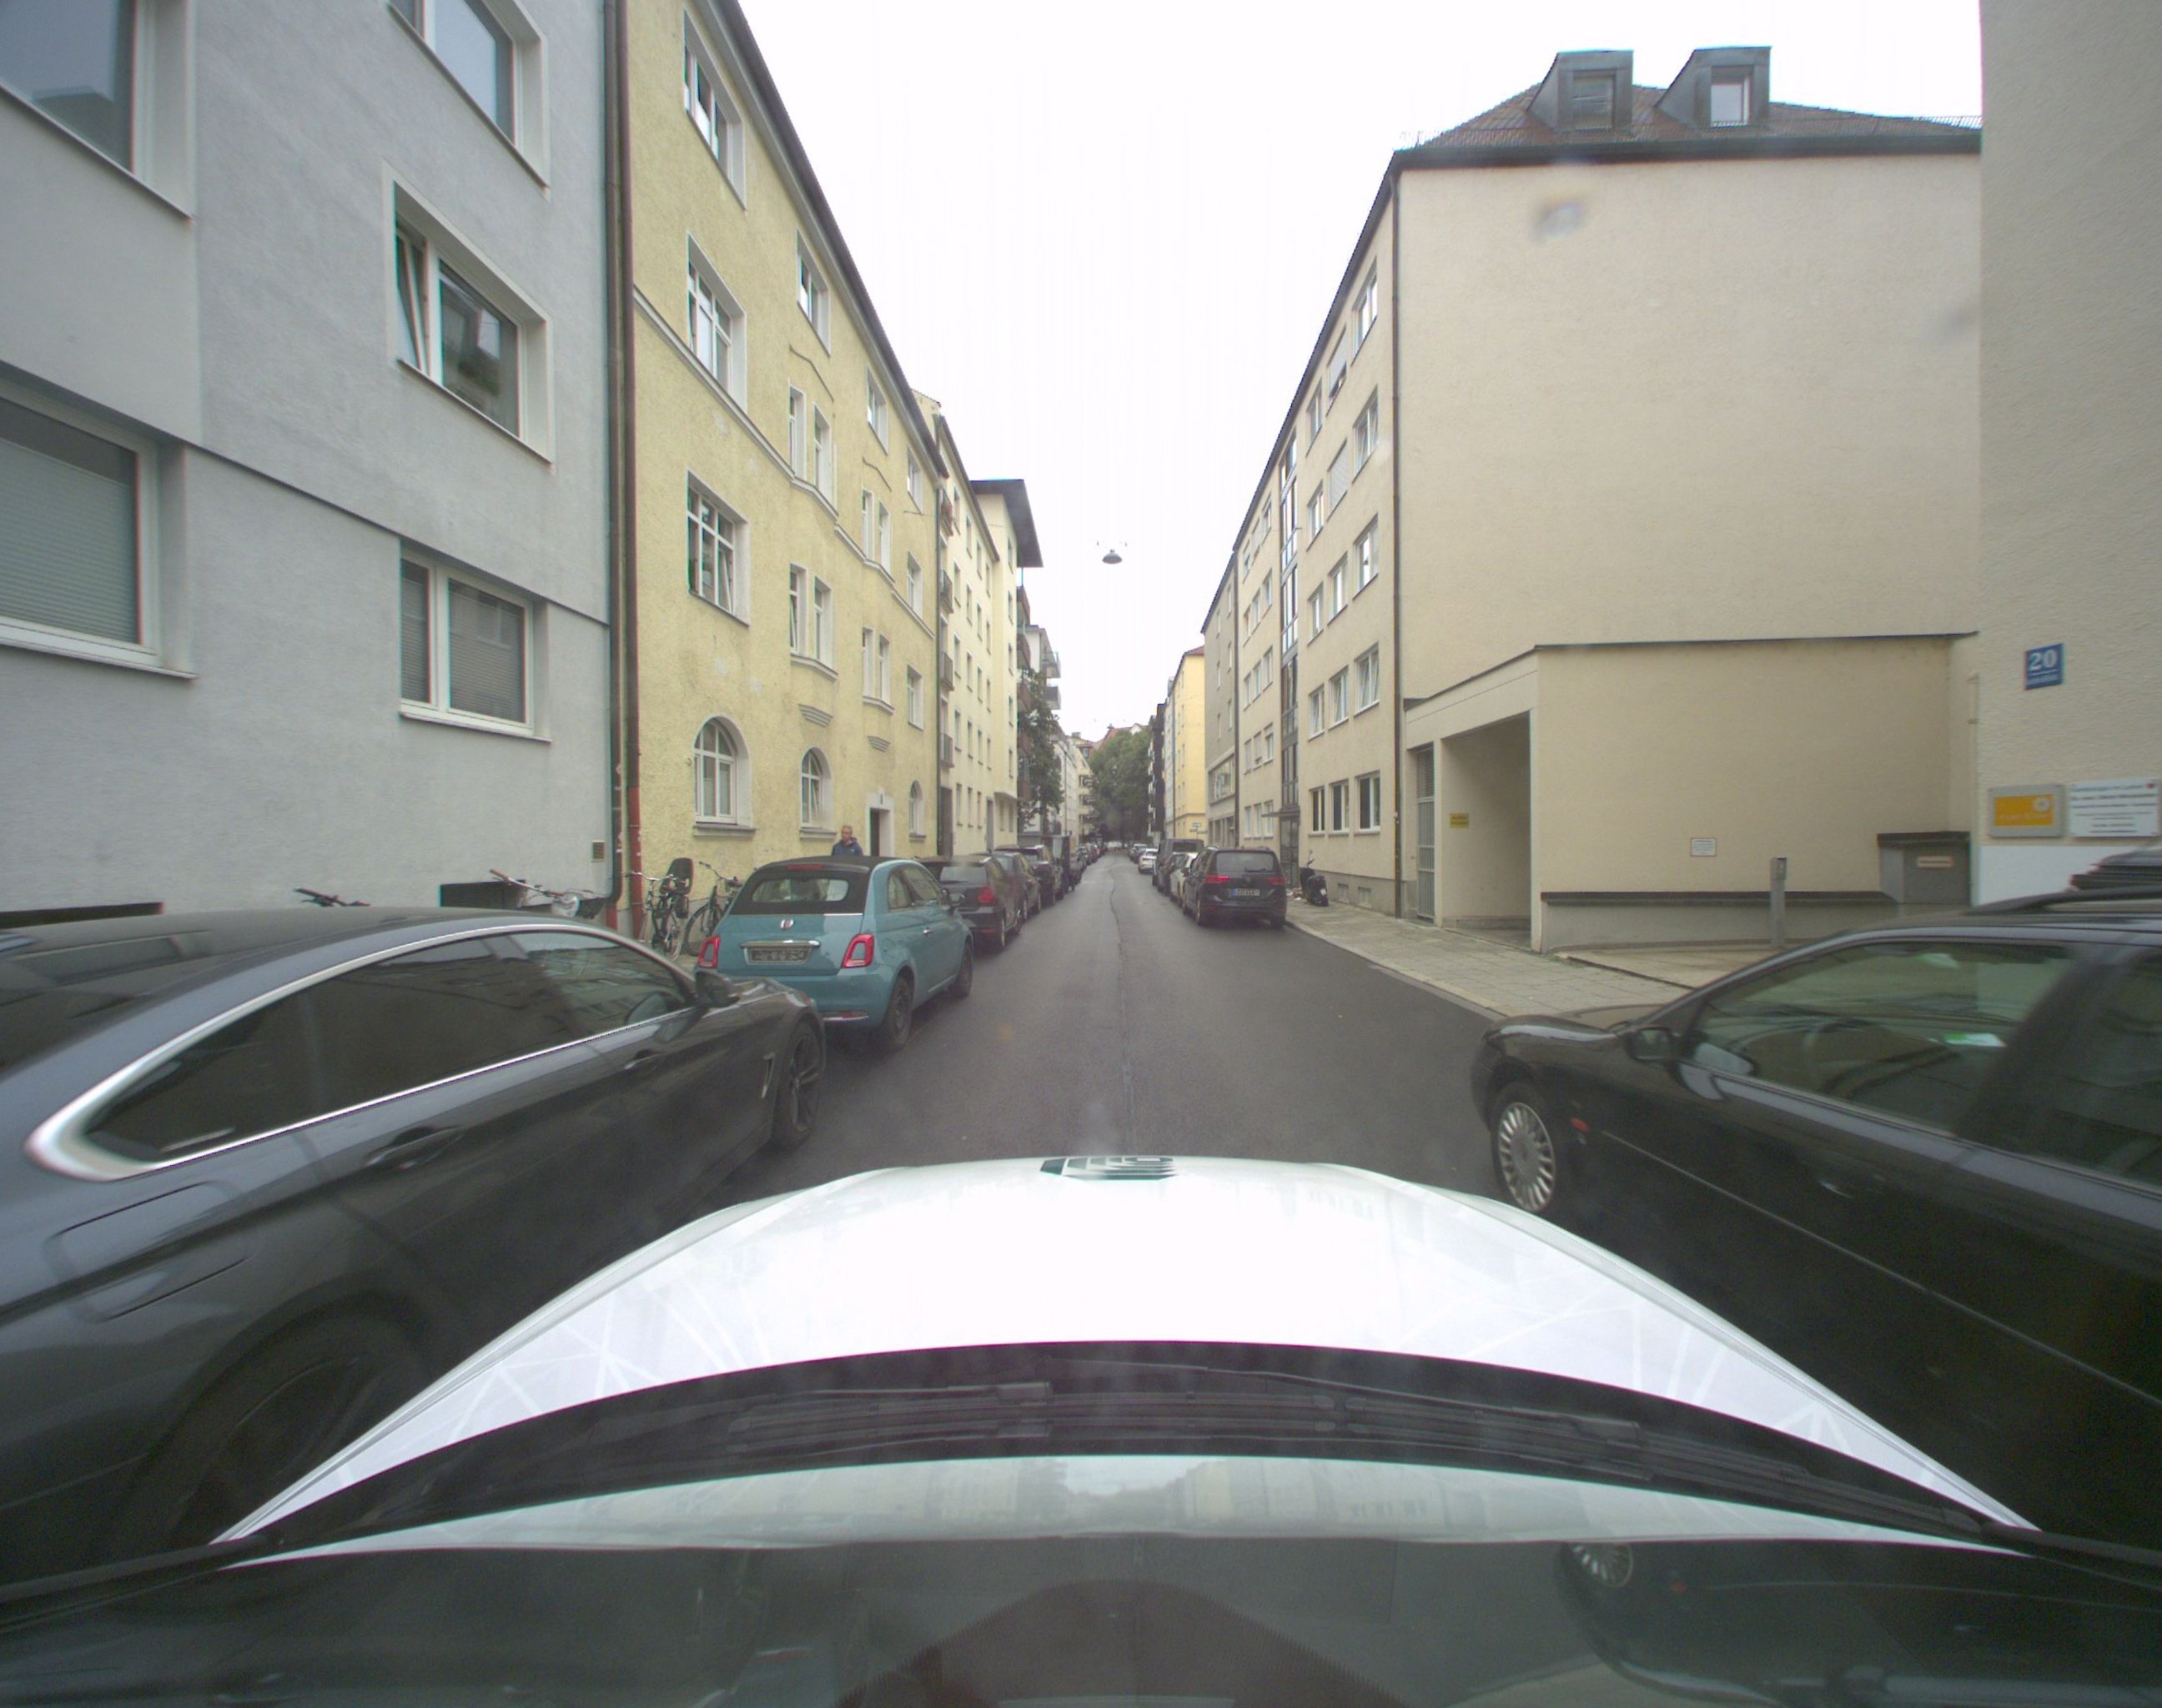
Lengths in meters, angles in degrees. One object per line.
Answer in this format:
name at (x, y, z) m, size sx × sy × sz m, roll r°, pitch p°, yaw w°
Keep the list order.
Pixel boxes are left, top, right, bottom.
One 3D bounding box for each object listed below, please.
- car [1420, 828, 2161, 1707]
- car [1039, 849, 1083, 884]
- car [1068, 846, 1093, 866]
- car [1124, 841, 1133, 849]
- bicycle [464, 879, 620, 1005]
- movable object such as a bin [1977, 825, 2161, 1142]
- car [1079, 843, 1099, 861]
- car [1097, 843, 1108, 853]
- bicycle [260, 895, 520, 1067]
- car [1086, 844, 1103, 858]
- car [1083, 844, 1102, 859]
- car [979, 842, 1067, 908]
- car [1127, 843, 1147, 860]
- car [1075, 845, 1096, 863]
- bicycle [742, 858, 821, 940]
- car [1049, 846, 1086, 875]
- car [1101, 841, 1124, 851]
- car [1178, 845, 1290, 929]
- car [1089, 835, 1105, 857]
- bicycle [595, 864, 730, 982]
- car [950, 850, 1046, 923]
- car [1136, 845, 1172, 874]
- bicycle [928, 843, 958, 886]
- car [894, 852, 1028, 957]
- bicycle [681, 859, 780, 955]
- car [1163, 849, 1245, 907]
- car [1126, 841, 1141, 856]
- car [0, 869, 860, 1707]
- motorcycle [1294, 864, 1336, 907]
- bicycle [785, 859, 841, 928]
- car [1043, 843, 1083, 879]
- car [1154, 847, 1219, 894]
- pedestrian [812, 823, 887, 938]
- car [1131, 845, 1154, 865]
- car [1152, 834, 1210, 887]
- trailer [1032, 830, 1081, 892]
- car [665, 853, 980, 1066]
car at (2.601, 0.704, 1.884) m, size 1.711 × 1.471 × 4.530 m, roll 1°, pitch 0°, yaw -1°
car at (-0.816, 0.499, 35.514) m, size 1.645 × 1.435 × 3.805 m, roll -1°, pitch 0°, yaw 3°
car at (0.009, 0.099, 63.074) m, size 1.686 × 1.442 × 3.946 m, roll -1°, pitch 1°, yaw 3°
car at (9.051, -1.760, 155.186) m, size 1.636 × 1.383 × 3.748 m, roll -3°, pitch 1°, yaw 2°
bicycle at (-5.087, 0.784, 7.801) m, size 0.394 × 1.031 × 1.571 m, roll 0°, pitch 0°, yaw 2°
movable object such as a bin at (5.382, 0.573, 3.619) m, size 1.028 × 1.423 × 1.587 m, roll -2°, pitch 0°, yaw 2°
car at (0.790, -0.192, 76.894) m, size 1.770 × 1.629 × 4.417 m, roll -1°, pitch 1°, yaw 2°
car at (3.451, -0.952, 128.530) m, size 1.636 × 1.383 × 3.484 m, roll -3°, pitch 1°, yaw 2°
bicycle at (-5.008, 0.859, 6.047) m, size 0.543 × 1.031 × 1.571 m, roll 0°, pitch 0°, yaw 2°
car at (1.627, -0.376, 95.132) m, size 1.770 × 1.452 × 4.048 m, roll -3°, pitch 1°, yaw 2°
car at (1.311, -0.330, 90.031) m, size 1.769 × 1.487 × 4.523 m, roll -3°, pitch 1°, yaw 3°
car at (-1.531, 0.518, 23.185) m, size 1.871 × 1.660 × 4.419 m, roll -1°, pitch 0°, yaw 4°
car at (5.348, -0.271, 78.055) m, size 1.676 × 1.567 × 4.417 m, roll 2°, pitch 1°, yaw 1°
car at (0.436, -0.028, 70.911) m, size 1.687 × 1.442 × 3.978 m, roll -1°, pitch 1°, yaw 1°
bicycle at (-4.827, 0.691, 13.238) m, size 0.591 × 1.234 × 1.737 m, roll 0°, pitch 0°, yaw 2°
car at (-0.721, 0.311, 46.357) m, size 1.758 × 1.483 × 4.428 m, roll -1°, pitch 1°, yaw 4°
car at (5.331, -1.349, 138.182) m, size 3.872 × 1.584 × 1.648 m, roll -3°, pitch 1°, yaw 1°
car at (3.221, 0.630, 17.902) m, size 1.705 × 1.608 × 4.244 m, roll 1°, pitch 0°, yaw 1°
car at (2.133, -1.045, 109.689) m, size 1.929 × 2.801 × 4.535 m, roll -3°, pitch 1°, yaw 2°
bicycle at (-4.853, 0.753, 9.575) m, size 0.634 × 1.234 × 1.737 m, roll 0°, pitch 0°, yaw 2°
car at (-1.776, 0.656, 18.450) m, size 1.556 × 1.460 × 3.479 m, roll -1°, pitch 0°, yaw 4°
car at (4.267, 0.280, 48.072) m, size 1.812 × 1.408 × 3.955 m, roll 1°, pitch 3°, yaw 1°
bicycle at (-4.333, 0.314, 25.639) m, size 0.592 × 1.278 × 1.552 m, roll 2°, pitch 0°, yaw 1°
car at (-1.831, 0.717, 13.490) m, size 1.557 × 1.460 × 3.765 m, roll -1°, pitch 0°, yaw 1°
bicycle at (-4.869, 0.694, 11.427) m, size 0.591 × 1.234 × 1.737 m, roll 0°, pitch 0°, yaw 2°
car at (3.431, 0.625, 23.378) m, size 1.706 × 1.486 × 4.244 m, roll 1°, pitch 0°, yaw 0°
car at (7.231, -0.747, 112.240) m, size 1.823 × 1.999 × 4.417 m, roll 3°, pitch 1°, yaw 1°
car at (-2.296, 0.857, 2.744) m, size 1.805 × 1.386 × 4.252 m, roll -2°, pitch 1°, yaw 1°
motorcycle at (5.817, 0.759, 20.319) m, size 0.480 × 0.967 × 1.912 m, roll -4°, pitch 0°, yaw 2°
bicycle at (-4.908, 0.687, 14.993) m, size 0.437 × 1.190 × 1.633 m, roll 0°, pitch 0°, yaw 2°
car at (-0.832, 0.330, 40.792) m, size 1.759 × 1.675 × 4.369 m, roll -1°, pitch 0°, yaw 2°
car at (3.595, 0.519, 28.329) m, size 1.706 × 1.486 × 4.244 m, roll 1°, pitch 0°, yaw 0°
pedestrian at (-3.695, 0.411, 13.082) m, size 0.836 × 1.764 × 1.068 m, roll 1°, pitch 0°, yaw 2°
car at (5.087, 0.051, 68.059) m, size 1.744 × 1.469 × 4.345 m, roll 2°, pitch 1°, yaw 2°
car at (3.976, 0.204, 32.985) m, size 1.745 × 1.975 × 4.343 m, roll 2°, pitch 1°, yaw 0°
trailer at (-0.841, 0.222, 29.583) m, size 1.349 × 2.115 × 3.323 m, roll -1°, pitch 0°, yaw 5°
car at (-2.036, 0.744, 7.436) m, size 1.556 × 1.460 × 3.408 m, roll -1°, pitch 0°, yaw 4°
